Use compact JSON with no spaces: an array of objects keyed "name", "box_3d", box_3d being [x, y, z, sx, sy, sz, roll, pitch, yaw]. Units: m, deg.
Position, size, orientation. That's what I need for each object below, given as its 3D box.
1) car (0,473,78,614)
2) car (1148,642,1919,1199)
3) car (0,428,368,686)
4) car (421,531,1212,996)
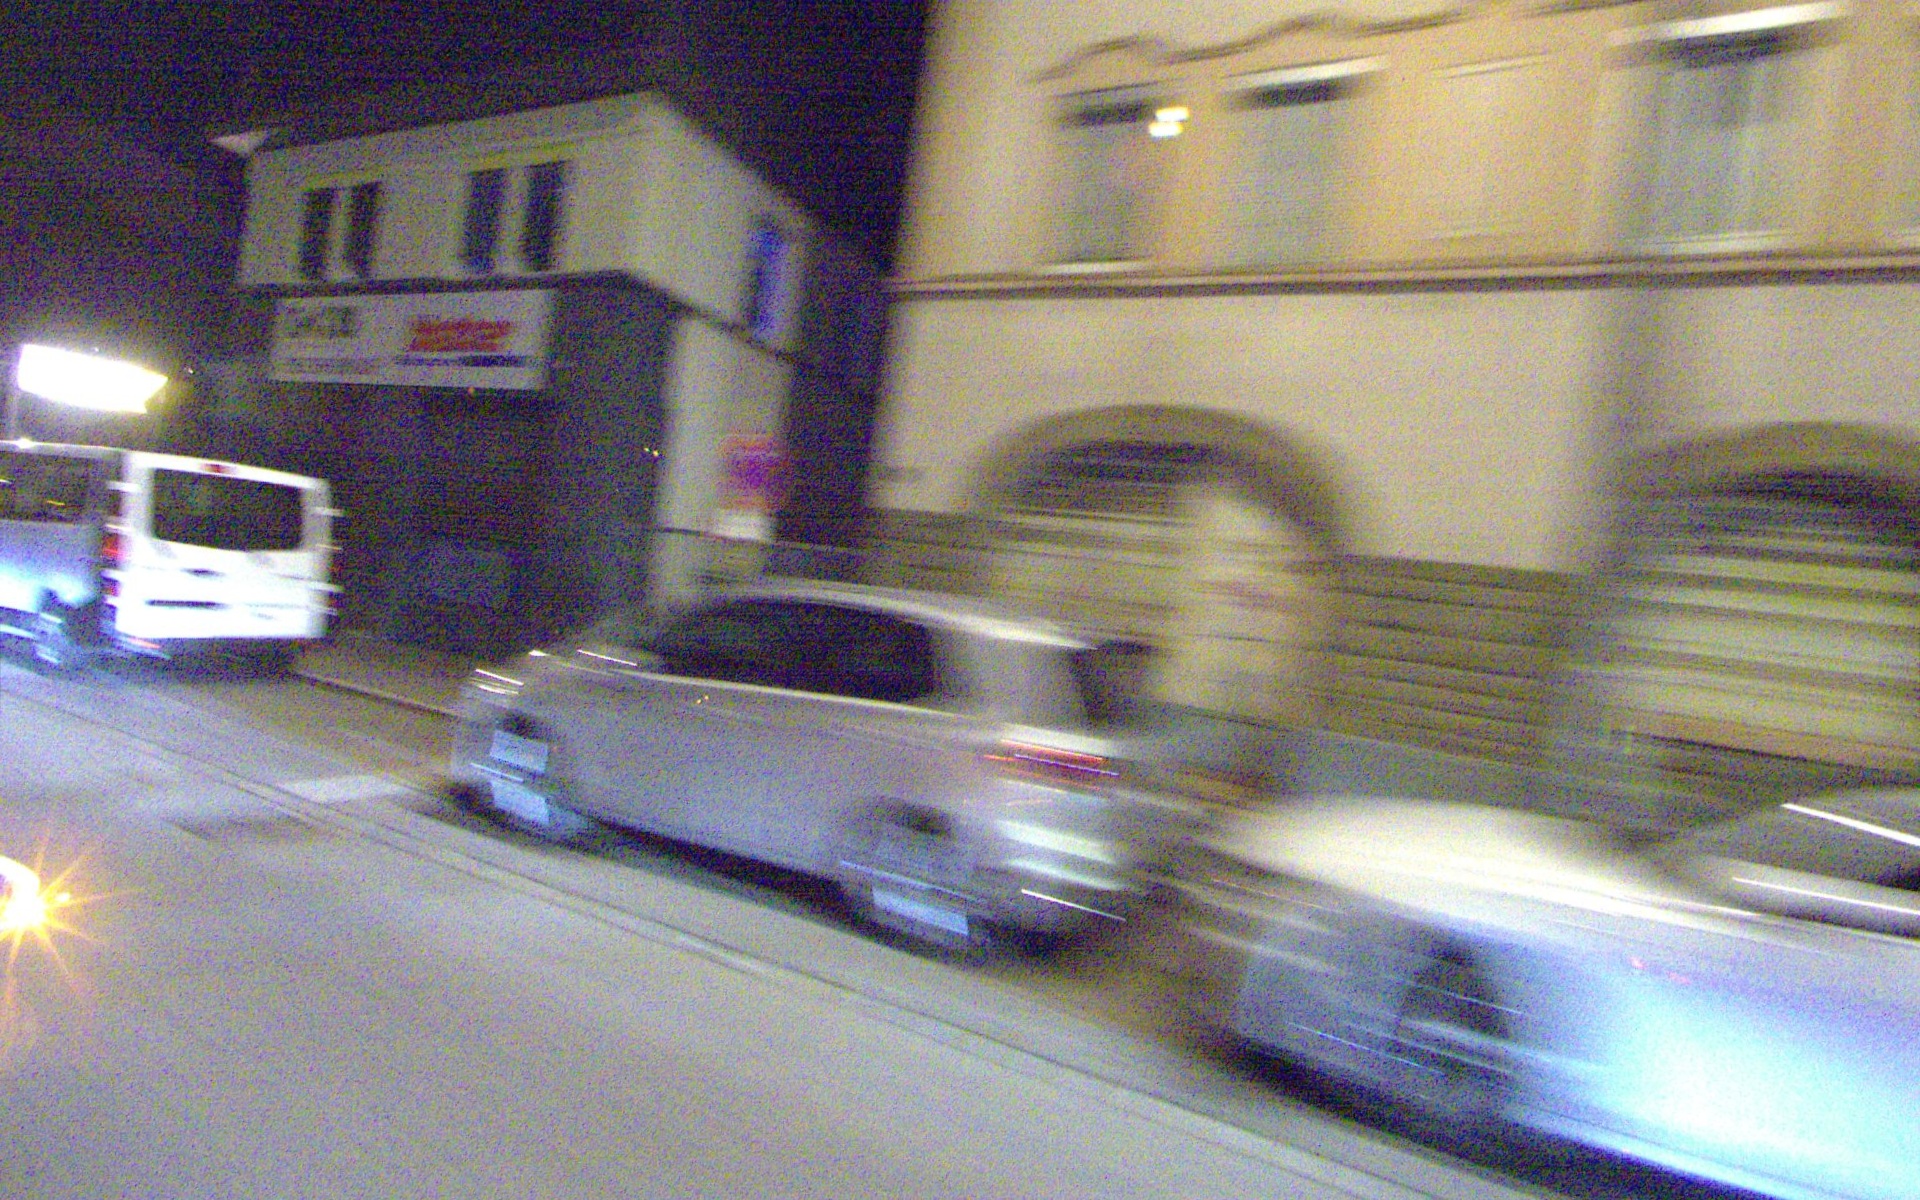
[{"name":"car","box_3d":[-12.999,-0.877,12.299,4.145,1.620,1.822,7,2,26]},{"name":"car","box_3d":[3.257,1.203,3.358,4.749,1.528,1.747,7,1,28]},{"name":"car","box_3d":[-8.519,-0.528,9.912,5.277,1.953,2.075,7,1,28]},{"name":"car","box_3d":[-0.904,0.639,5.774,4.137,1.585,1.747,7,1,28]}]
